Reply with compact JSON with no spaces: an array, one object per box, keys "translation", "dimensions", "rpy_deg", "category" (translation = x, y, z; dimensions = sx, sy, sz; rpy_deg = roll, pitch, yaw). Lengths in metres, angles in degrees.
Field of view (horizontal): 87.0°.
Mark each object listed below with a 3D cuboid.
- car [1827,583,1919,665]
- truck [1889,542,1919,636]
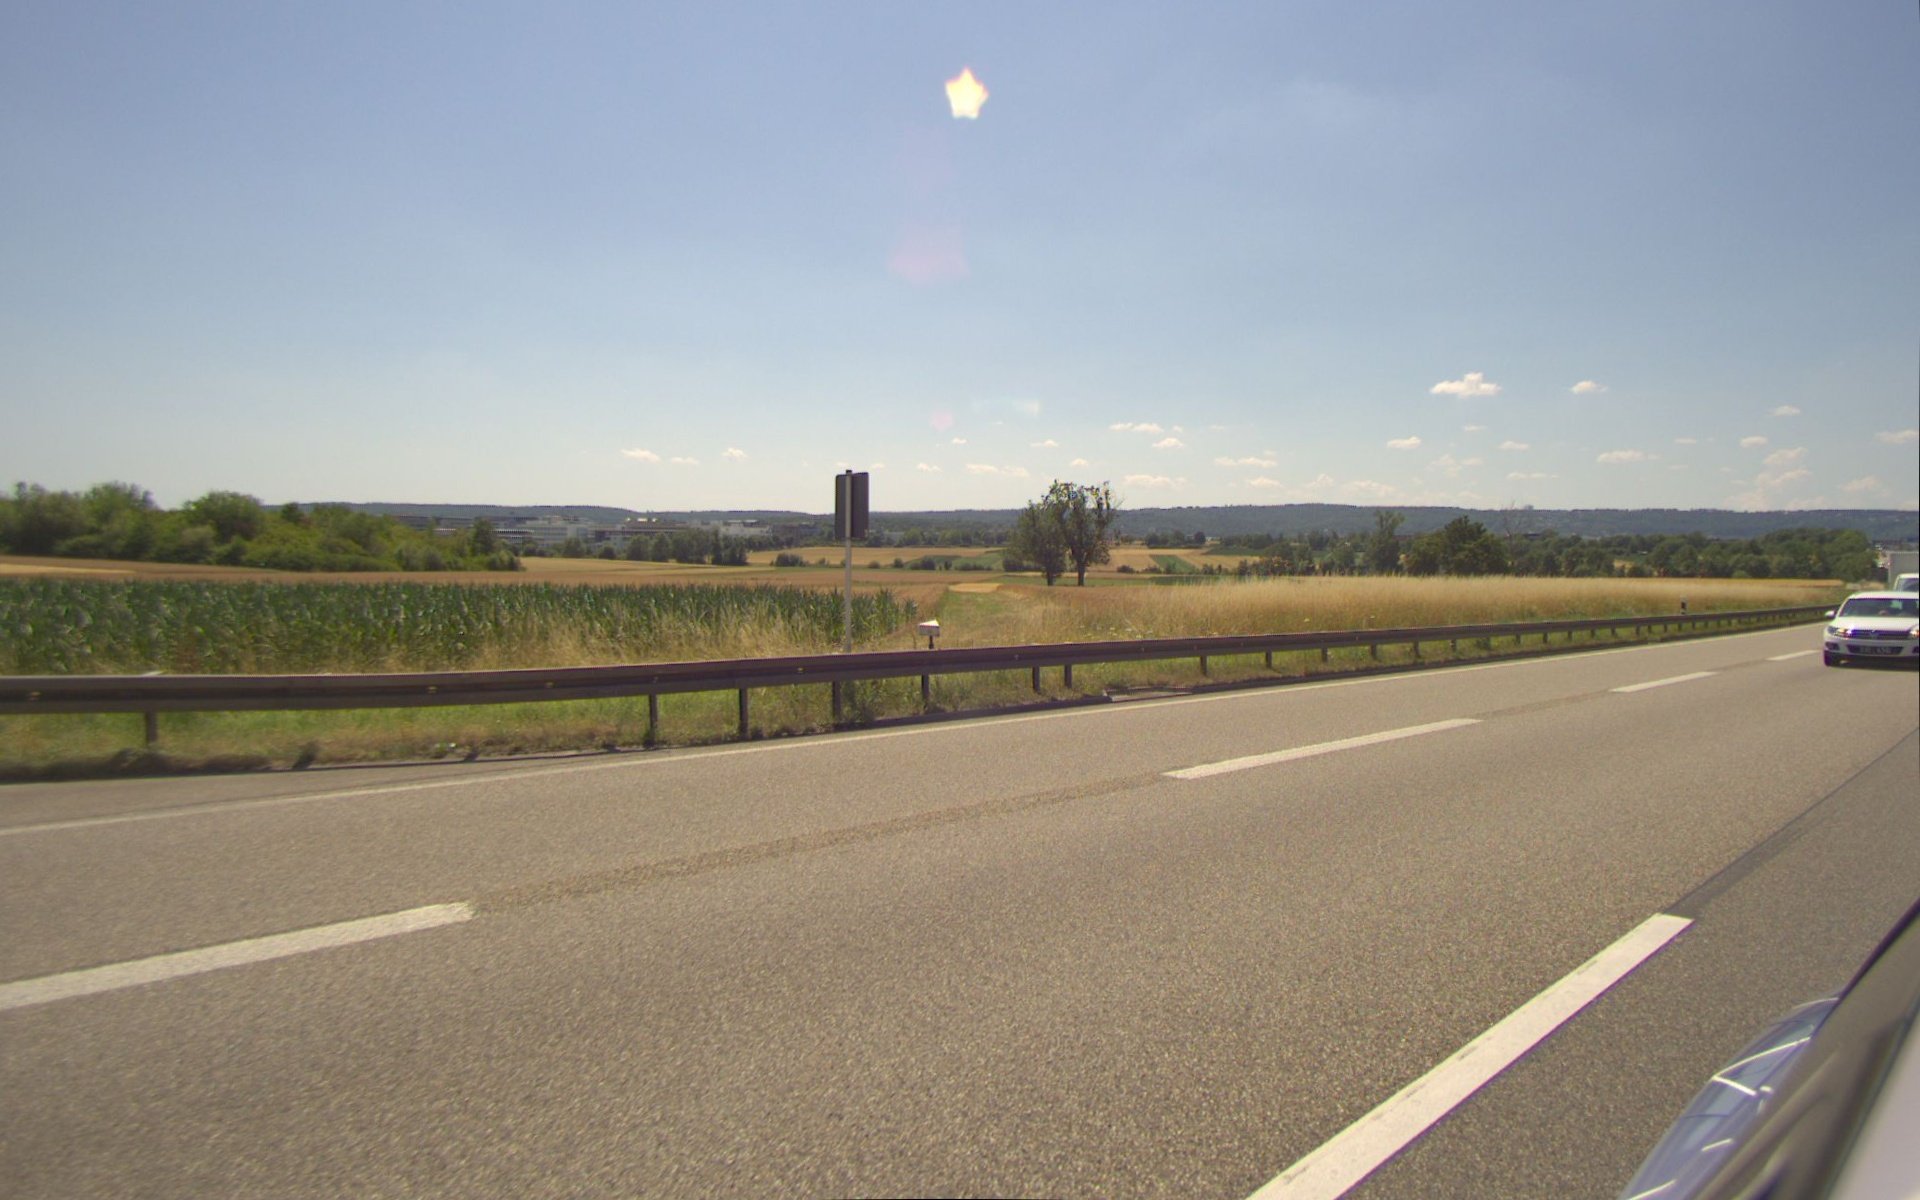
[{"translation":[20.596,0.460,22.239],"dimensions":[4.101,1.666,1.835],"rpy_deg":[-1,0,-42],"category":"car"},{"translation":[33.883,-0.395,34.871],"dimensions":[6.804,3.066,2.440],"rpy_deg":[-1,1,-45],"category":"truck"}]
